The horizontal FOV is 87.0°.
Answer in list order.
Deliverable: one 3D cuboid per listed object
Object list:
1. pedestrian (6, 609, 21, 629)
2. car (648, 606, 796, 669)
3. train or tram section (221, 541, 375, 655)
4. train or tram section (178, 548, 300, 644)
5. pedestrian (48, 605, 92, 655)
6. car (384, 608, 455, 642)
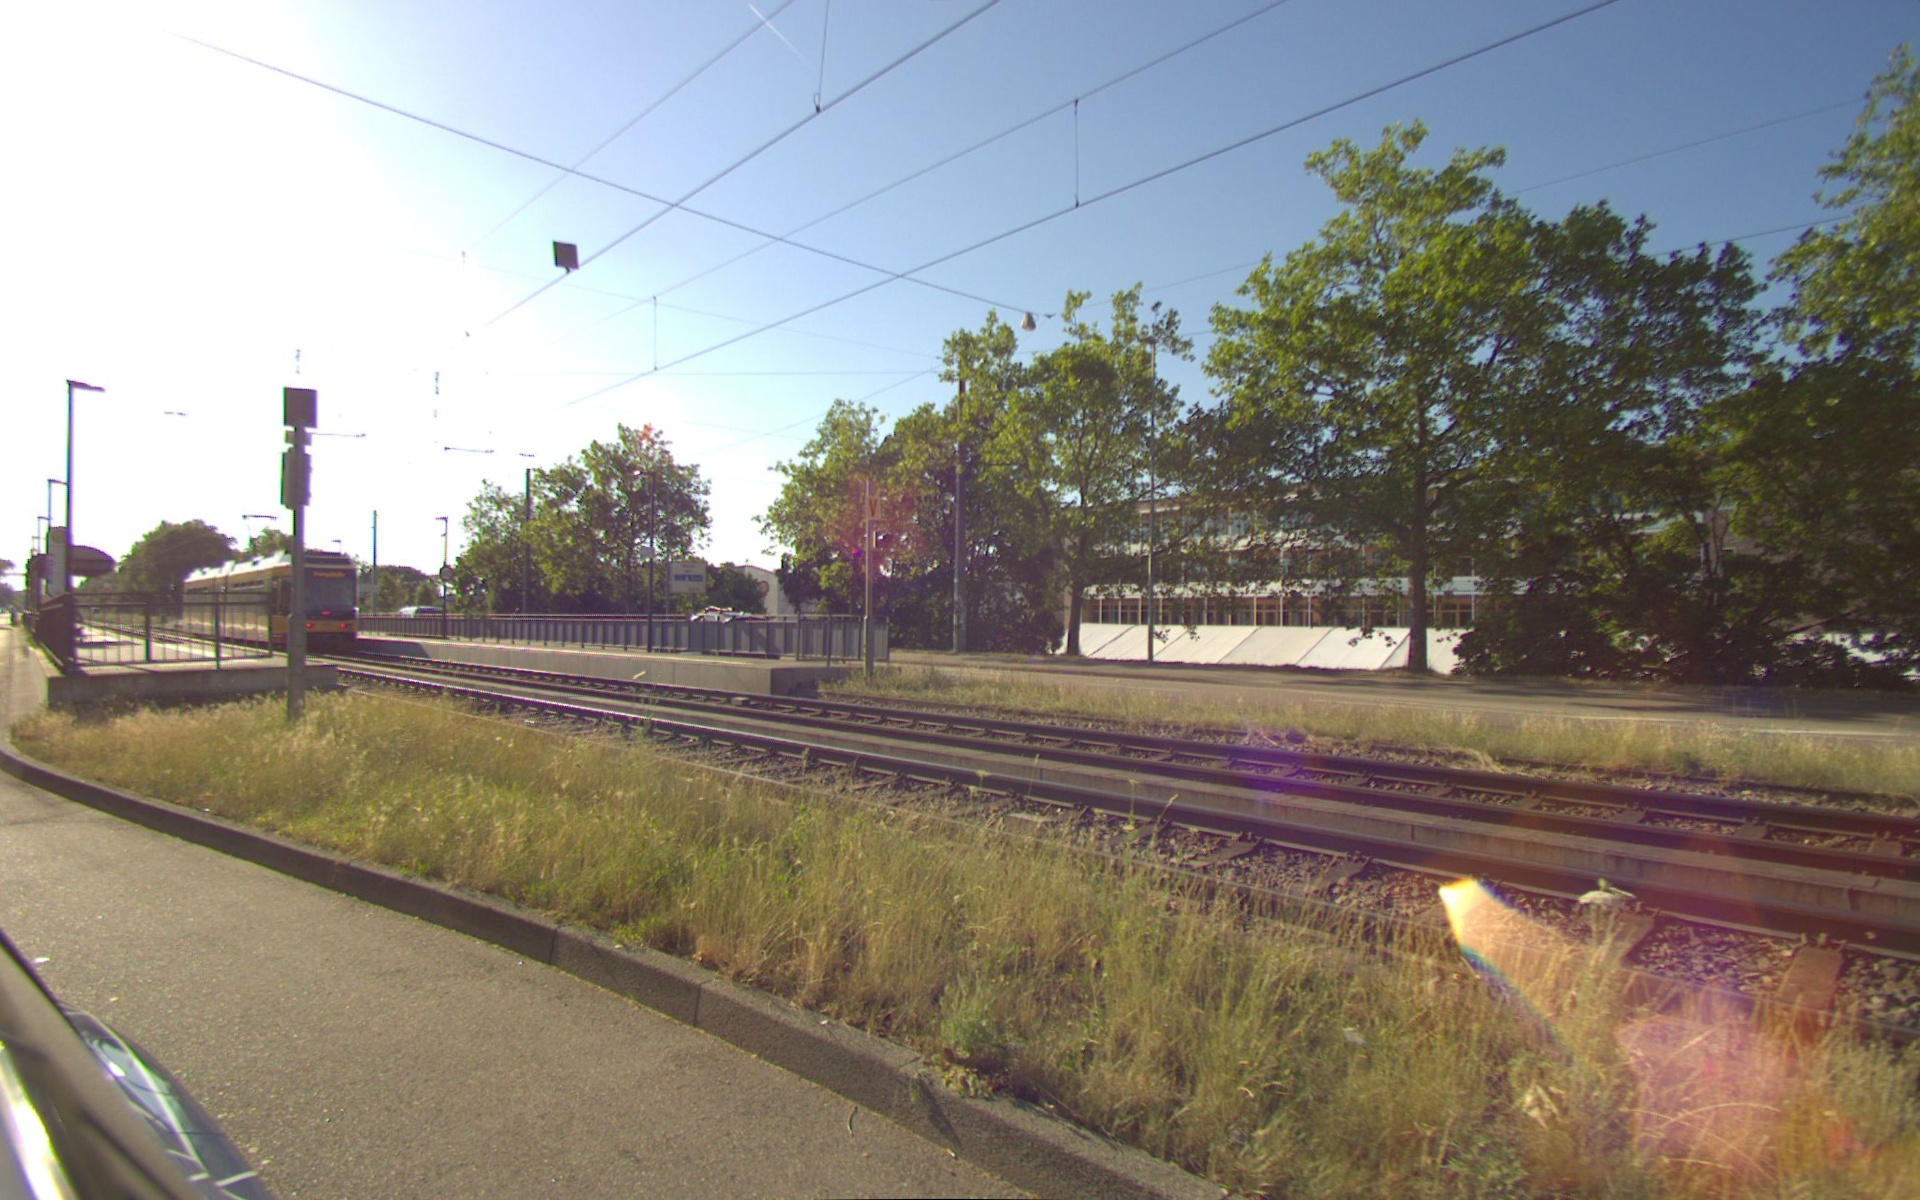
[{"bbox_3d":[-78.078,1.589,83.481,0.879,1.657,0.987,1,-2,-44],"label":"pedestrian"},{"bbox_3d":[-6.651,0.987,27.991,1.970,1.573,4.547,0,-1,-44],"label":"car"},{"bbox_3d":[-25.750,-0.002,38.915,2.794,3.715,12.981,0,0,-43],"label":"train or tram section"},{"bbox_3d":[-35.516,-0.080,49.424,2.794,4.036,15.890,0,0,-43],"label":"train or tram section"},{"bbox_3d":[-27.112,0.897,30.833,0.749,1.504,0.696,0,-1,-11],"label":"pedestrian"},{"bbox_3d":[-26.215,1.178,49.010,1.970,1.573,4.338,0,-1,-44],"label":"car"}]
